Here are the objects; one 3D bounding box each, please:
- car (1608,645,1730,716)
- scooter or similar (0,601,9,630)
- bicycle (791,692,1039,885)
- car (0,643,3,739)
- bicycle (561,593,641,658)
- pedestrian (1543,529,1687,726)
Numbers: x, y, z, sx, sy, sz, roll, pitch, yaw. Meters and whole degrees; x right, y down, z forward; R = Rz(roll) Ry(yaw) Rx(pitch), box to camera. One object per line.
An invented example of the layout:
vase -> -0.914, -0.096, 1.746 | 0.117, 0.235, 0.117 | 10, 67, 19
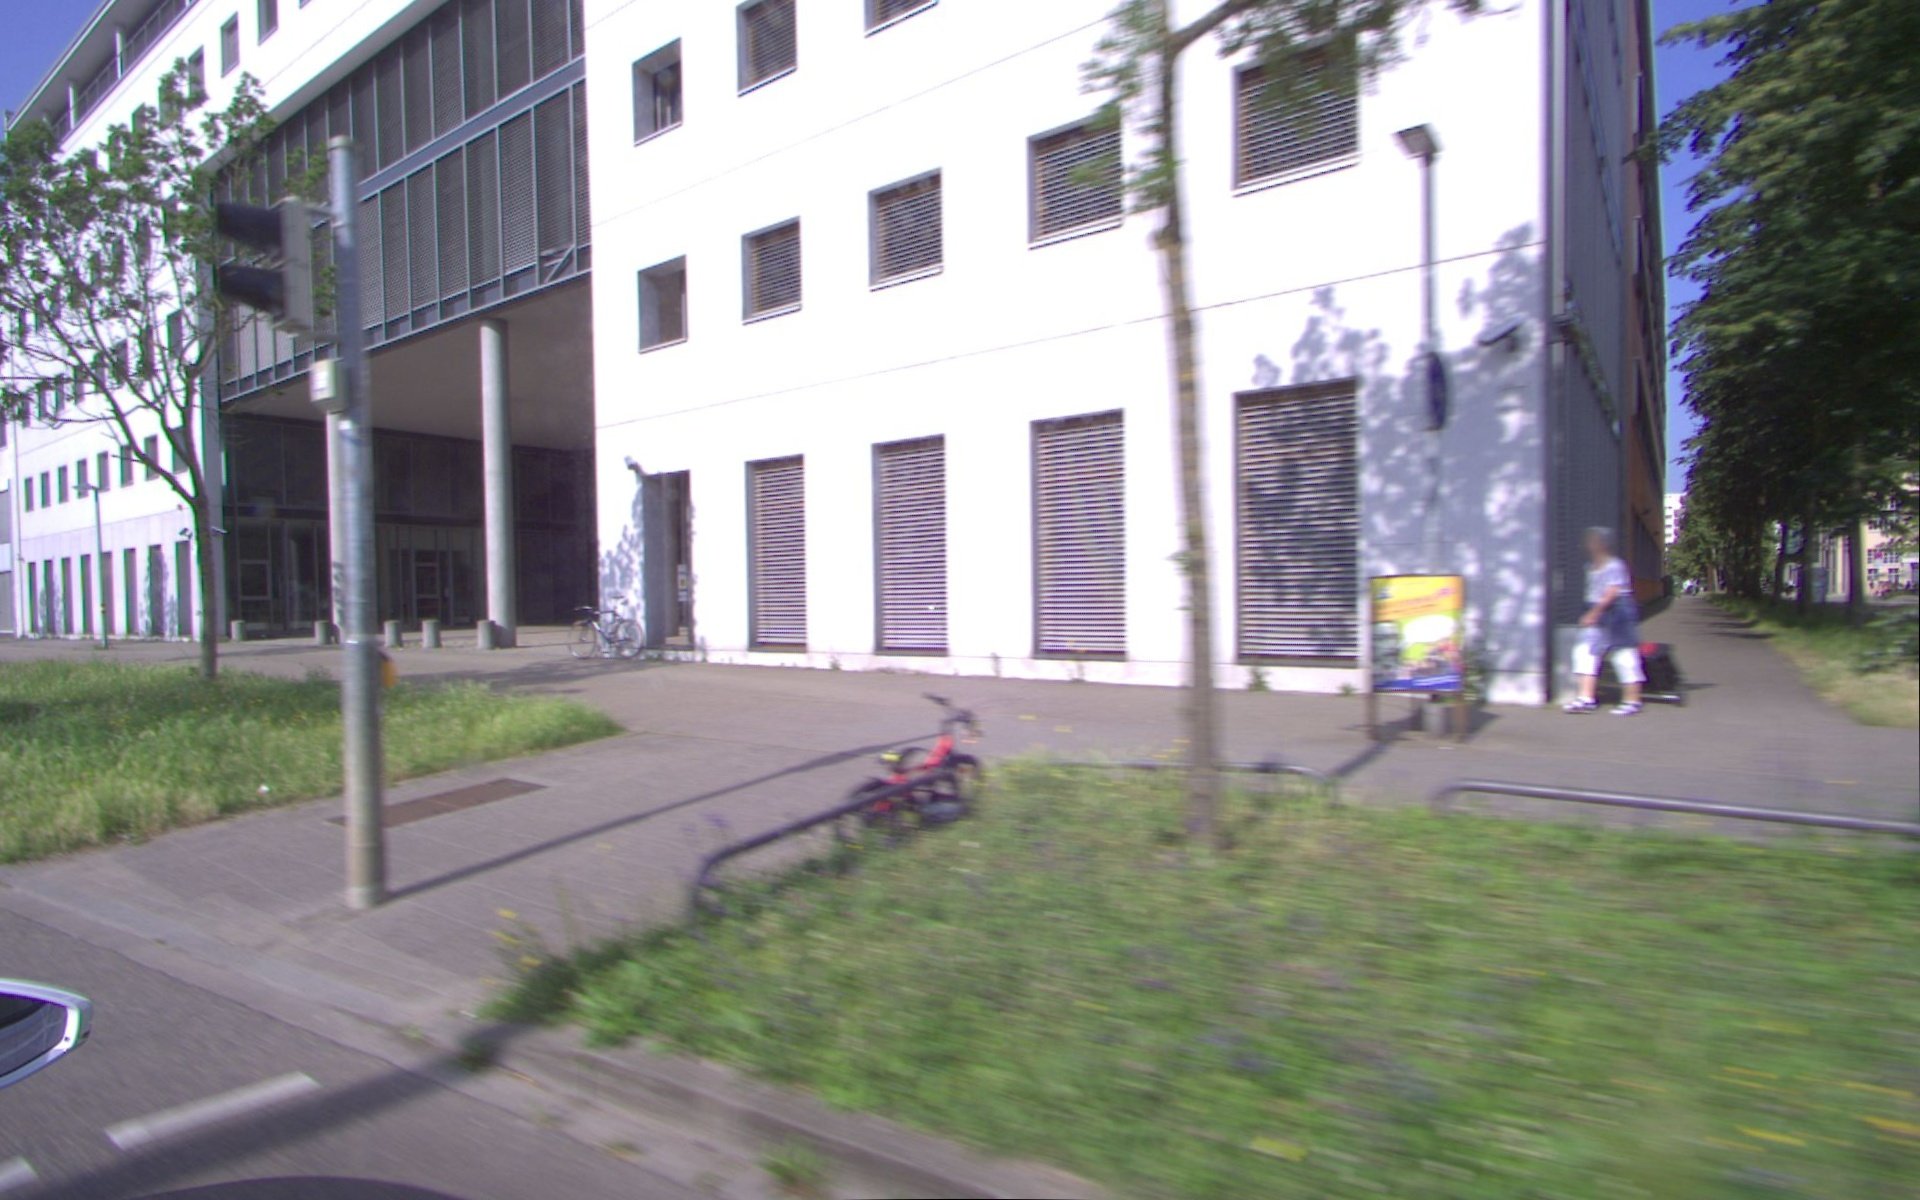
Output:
car -> 6.425, 0.725, 9.094 | 0.753, 0.595, 0.498 | 0, 1, -2
scooter or similar -> -41.348, 0.666, 43.087 | 1.240, 1.230, 0.460 | 2, 3, 43
bicycle -> -0.200, 0.933, 5.261 | 0.515, 0.641, 1.262 | 1, 7, 43
car -> -12.833, 0.784, 11.699 | 3.730, 1.540, 1.715 | 1, 2, 36
bicycle -> -6.354, 0.436, 17.722 | 1.528, 1.101, 0.492 | 1, 3, 34
pedestrian -> 5.674, 0.225, 8.710 | 0.764, 1.638, 0.713 | 0, 1, -3
